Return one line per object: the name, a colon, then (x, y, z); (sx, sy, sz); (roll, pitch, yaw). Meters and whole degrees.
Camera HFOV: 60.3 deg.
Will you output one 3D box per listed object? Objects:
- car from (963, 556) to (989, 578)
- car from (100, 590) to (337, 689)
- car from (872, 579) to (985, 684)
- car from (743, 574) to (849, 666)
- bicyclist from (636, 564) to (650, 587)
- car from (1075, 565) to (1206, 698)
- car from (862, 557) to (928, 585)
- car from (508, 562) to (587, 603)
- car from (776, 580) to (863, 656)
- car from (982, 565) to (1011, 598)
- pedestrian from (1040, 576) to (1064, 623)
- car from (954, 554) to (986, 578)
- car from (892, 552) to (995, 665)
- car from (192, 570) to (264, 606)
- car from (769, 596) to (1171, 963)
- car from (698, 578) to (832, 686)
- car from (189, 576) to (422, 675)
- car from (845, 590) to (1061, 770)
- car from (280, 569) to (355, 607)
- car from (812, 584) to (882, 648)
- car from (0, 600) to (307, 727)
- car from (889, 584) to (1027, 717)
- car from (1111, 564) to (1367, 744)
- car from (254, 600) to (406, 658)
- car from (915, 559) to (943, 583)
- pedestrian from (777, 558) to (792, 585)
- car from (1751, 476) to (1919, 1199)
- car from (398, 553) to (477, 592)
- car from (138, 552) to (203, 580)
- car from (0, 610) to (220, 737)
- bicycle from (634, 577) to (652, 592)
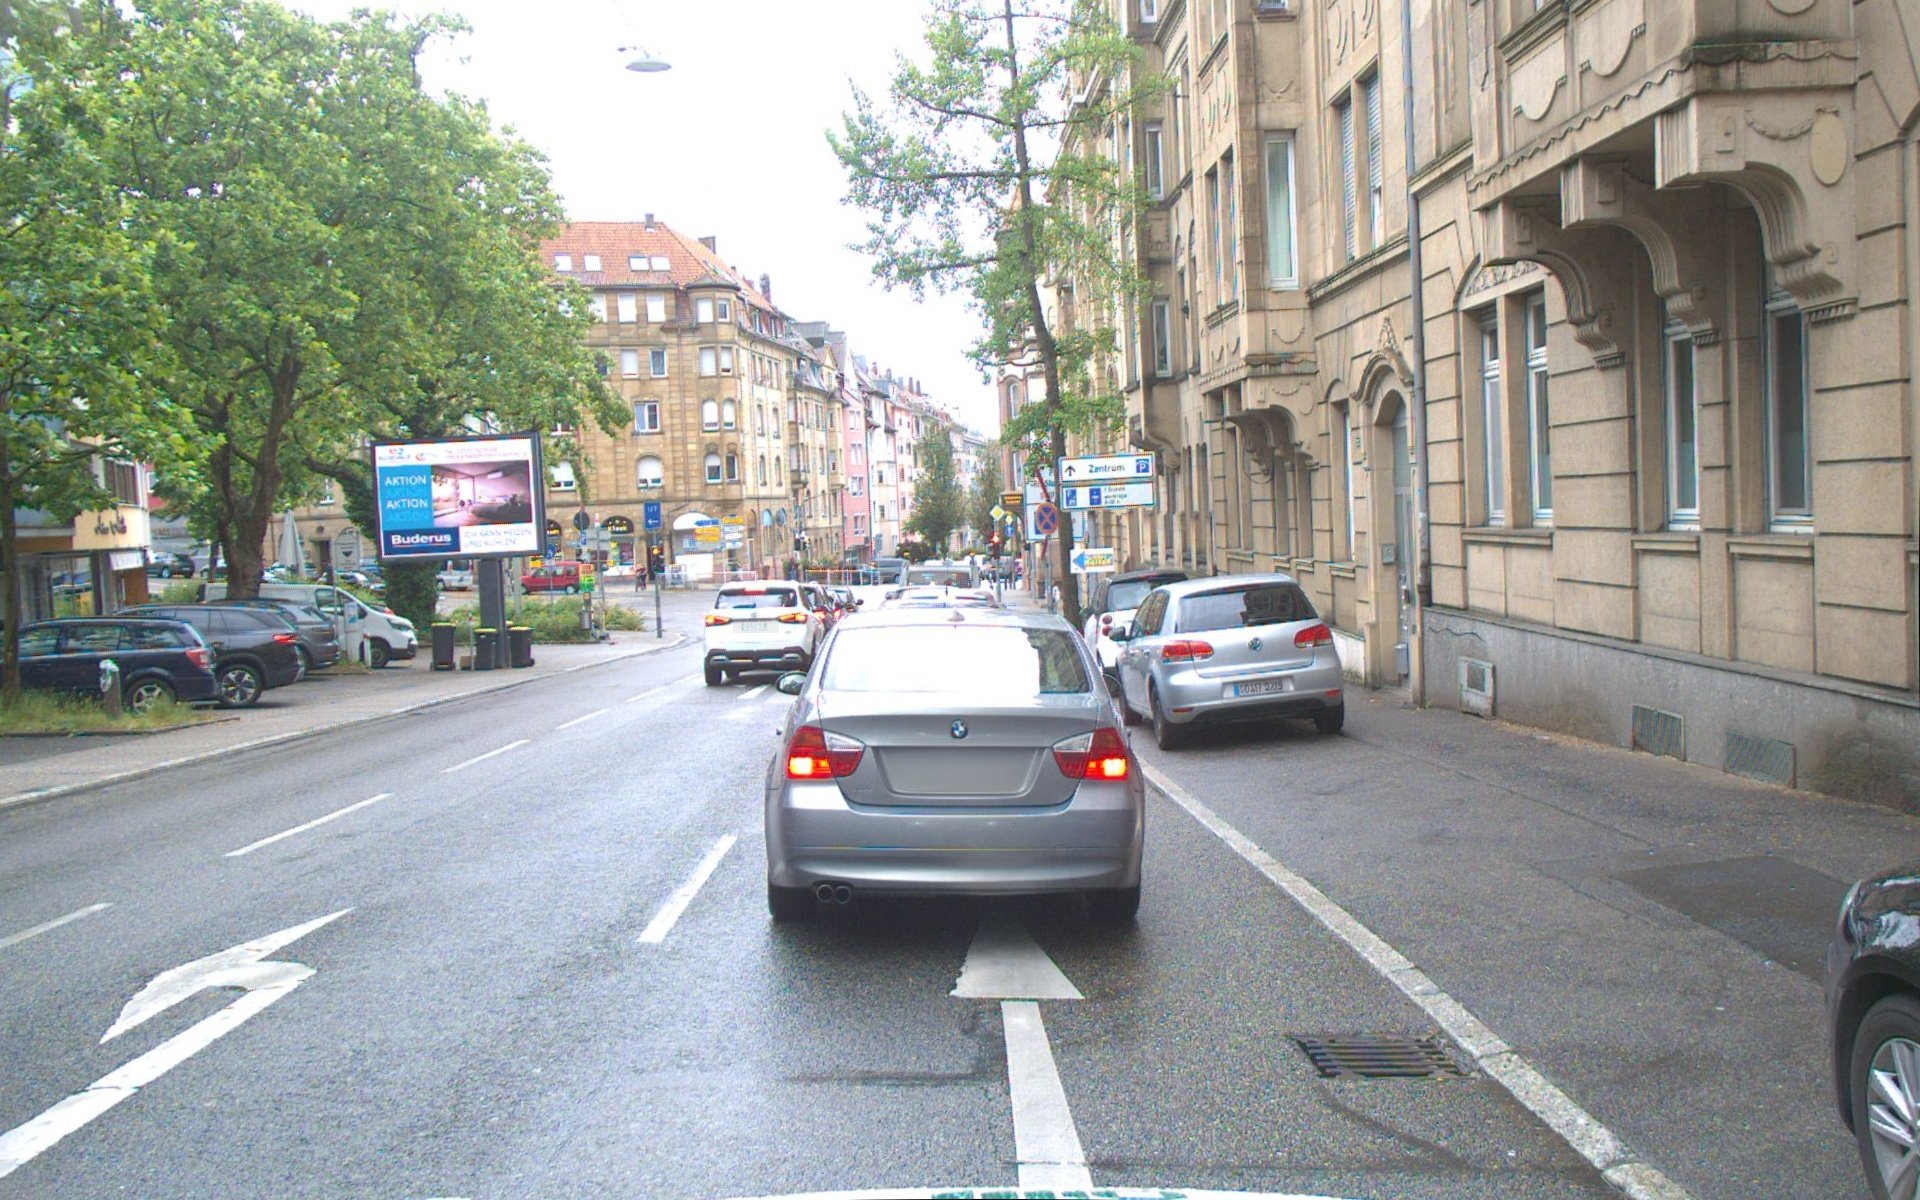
car: (0.964, -1.952, 99.228); (1.405, 1.195, 3.433); (1, 0, -2)
car: (-15.109, 0.772, 33.977); (4.295, 1.815, 1.927); (-2, 0, -22)
car: (-0.475, 0.456, 27.391); (1.723, 1.594, 4.000); (-1, 1, 0)
car: (-3.277, 0.364, 33.687); (1.723, 1.737, 4.000); (-1, 1, 0)
bicyclist: (-18.435, -1.428, 96.226); (0.556, 1.295, 0.690); (1, -1, 10)
car: (2.417, 0.388, 22.680); (1.273, 1.569, 2.975); (-6, 1, -1)
car: (-5.080, -2.245, 129.810); (5.072, 2.049, 2.698); (1, 0, -1)
car: (-22.640, -0.979, 90.871); (3.913, 2.048, 1.996); (-3, 1, -8)
car: (-3.363, 0.391, 40.262); (1.723, 1.737, 4.000); (-1, 1, 0)
car: (2.403, -1.223, 108.764); (1.652, 2.048, 3.999); (-3, 1, -1)
pedestrian: (3.144, -0.015, 56.332); (0.618, 1.534, 0.693); (-6, 0, -2)
car: (0.752, -2.493, 120.746); (1.951, 1.606, 4.002); (1, 0, 5)
car: (-0.338, 0.159, 33.470); (1.953, 2.143, 3.999); (0, 0, -1)
car: (-46.015, -0.758, 103.984); (4.196, 2.138, 1.998); (2, 2, 28)
car: (0.051, 0.712, 8.403); (1.590, 1.407, 3.615); (-1, 1, 0)
car: (-3.199, 0.483, 27.839); (1.830, 1.654, 3.999); (-1, 0, -1)
car: (-15.453, 0.571, 39.259); (4.989, 2.142, 1.979); (-2, 0, -22)
car: (-0.047, 0.630, 15.329); (1.723, 1.407, 4.000); (-1, 1, 0)
car: (-39.169, -0.752, 100.822); (4.196, 2.138, 1.998); (2, 2, 28)
car: (-3.228, 0.421, 47.803); (1.723, 1.737, 4.000); (-1, 1, 0)
car: (-12.910, 0.964, 26.700); (4.308, 1.701, 1.842); (-3, 1, -24)
car: (-0.013, 0.555, 20.856); (1.562, 1.490, 4.000); (-1, 1, 0)
car: (2.604, 0.449, 16.327); (1.724, 1.477, 3.999); (-3, 1, -1)
car: (-17.702, 0.803, 46.560); (3.916, 1.476, 1.757); (-2, 0, -22)
car: (-1.991, -1.814, 104.756); (1.680, 1.476, 3.741); (-2, 0, -1)
pedestrian: (-10.718, -1.760, 101.027); (0.716, 1.605, 0.528); (-1, 0, 8)
car: (2.825, 0.512, 1.895); (1.724, 1.679, 4.098); (-6, 1, 0)
car: (-30.400, -1.639, 96.231); (4.196, 2.138, 1.998); (2, 2, 28)
car: (-51.084, -2.220, 107.045); (3.909, 1.718, 1.726); (1, 0, 27)
car: (-13.075, 1.064, 23.872); (4.301, 1.601, 1.928); (-3, 1, -25)
bicycle: (-18.458, -0.895, 96.243); (0.561, 0.873, 1.523); (1, 0, 8)
